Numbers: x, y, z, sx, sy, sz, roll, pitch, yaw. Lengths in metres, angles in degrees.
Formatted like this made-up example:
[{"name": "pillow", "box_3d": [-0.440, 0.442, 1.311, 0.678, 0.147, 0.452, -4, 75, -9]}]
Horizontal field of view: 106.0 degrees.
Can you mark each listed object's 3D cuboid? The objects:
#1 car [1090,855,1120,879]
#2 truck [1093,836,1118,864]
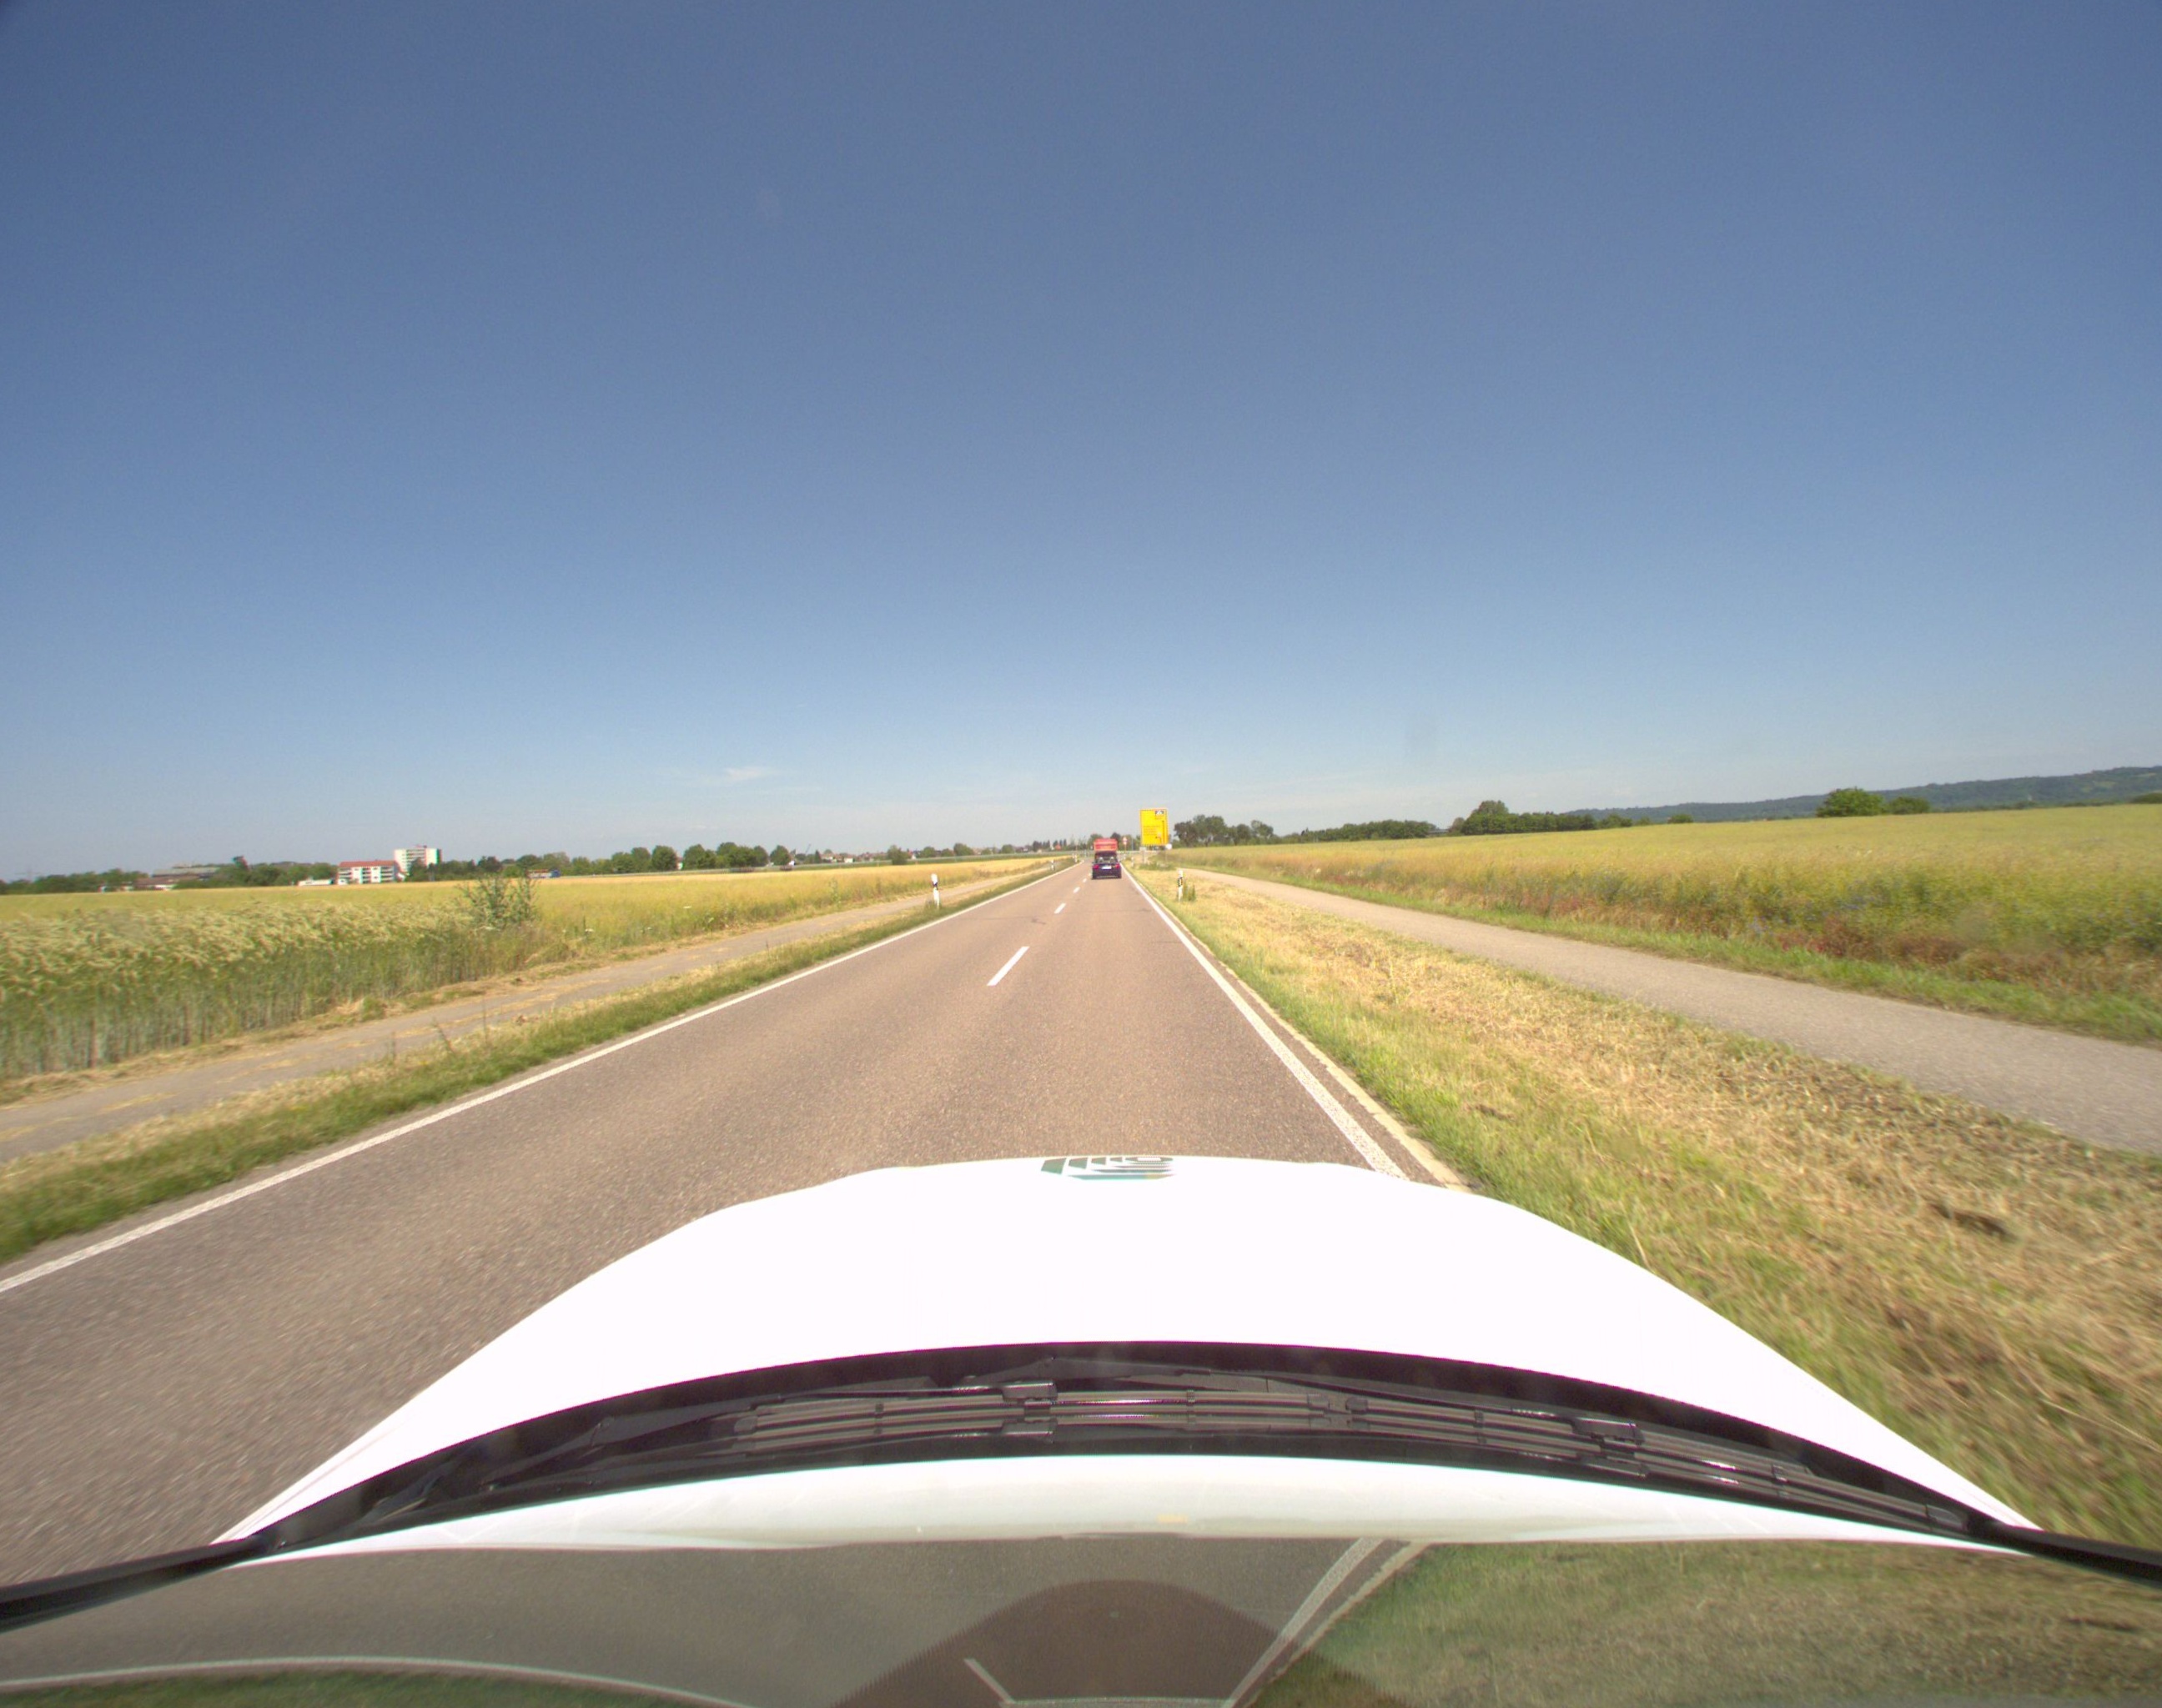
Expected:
[{"name": "car", "box_3d": [1.465, 0.787, 49.360, 1.741, 1.375, 3.681, 0, -1, 2]}, {"name": "truck", "box_3d": [2.767, -0.396, 91.562, 2.704, 3.052, 8.167, -1, -1, 2]}]
